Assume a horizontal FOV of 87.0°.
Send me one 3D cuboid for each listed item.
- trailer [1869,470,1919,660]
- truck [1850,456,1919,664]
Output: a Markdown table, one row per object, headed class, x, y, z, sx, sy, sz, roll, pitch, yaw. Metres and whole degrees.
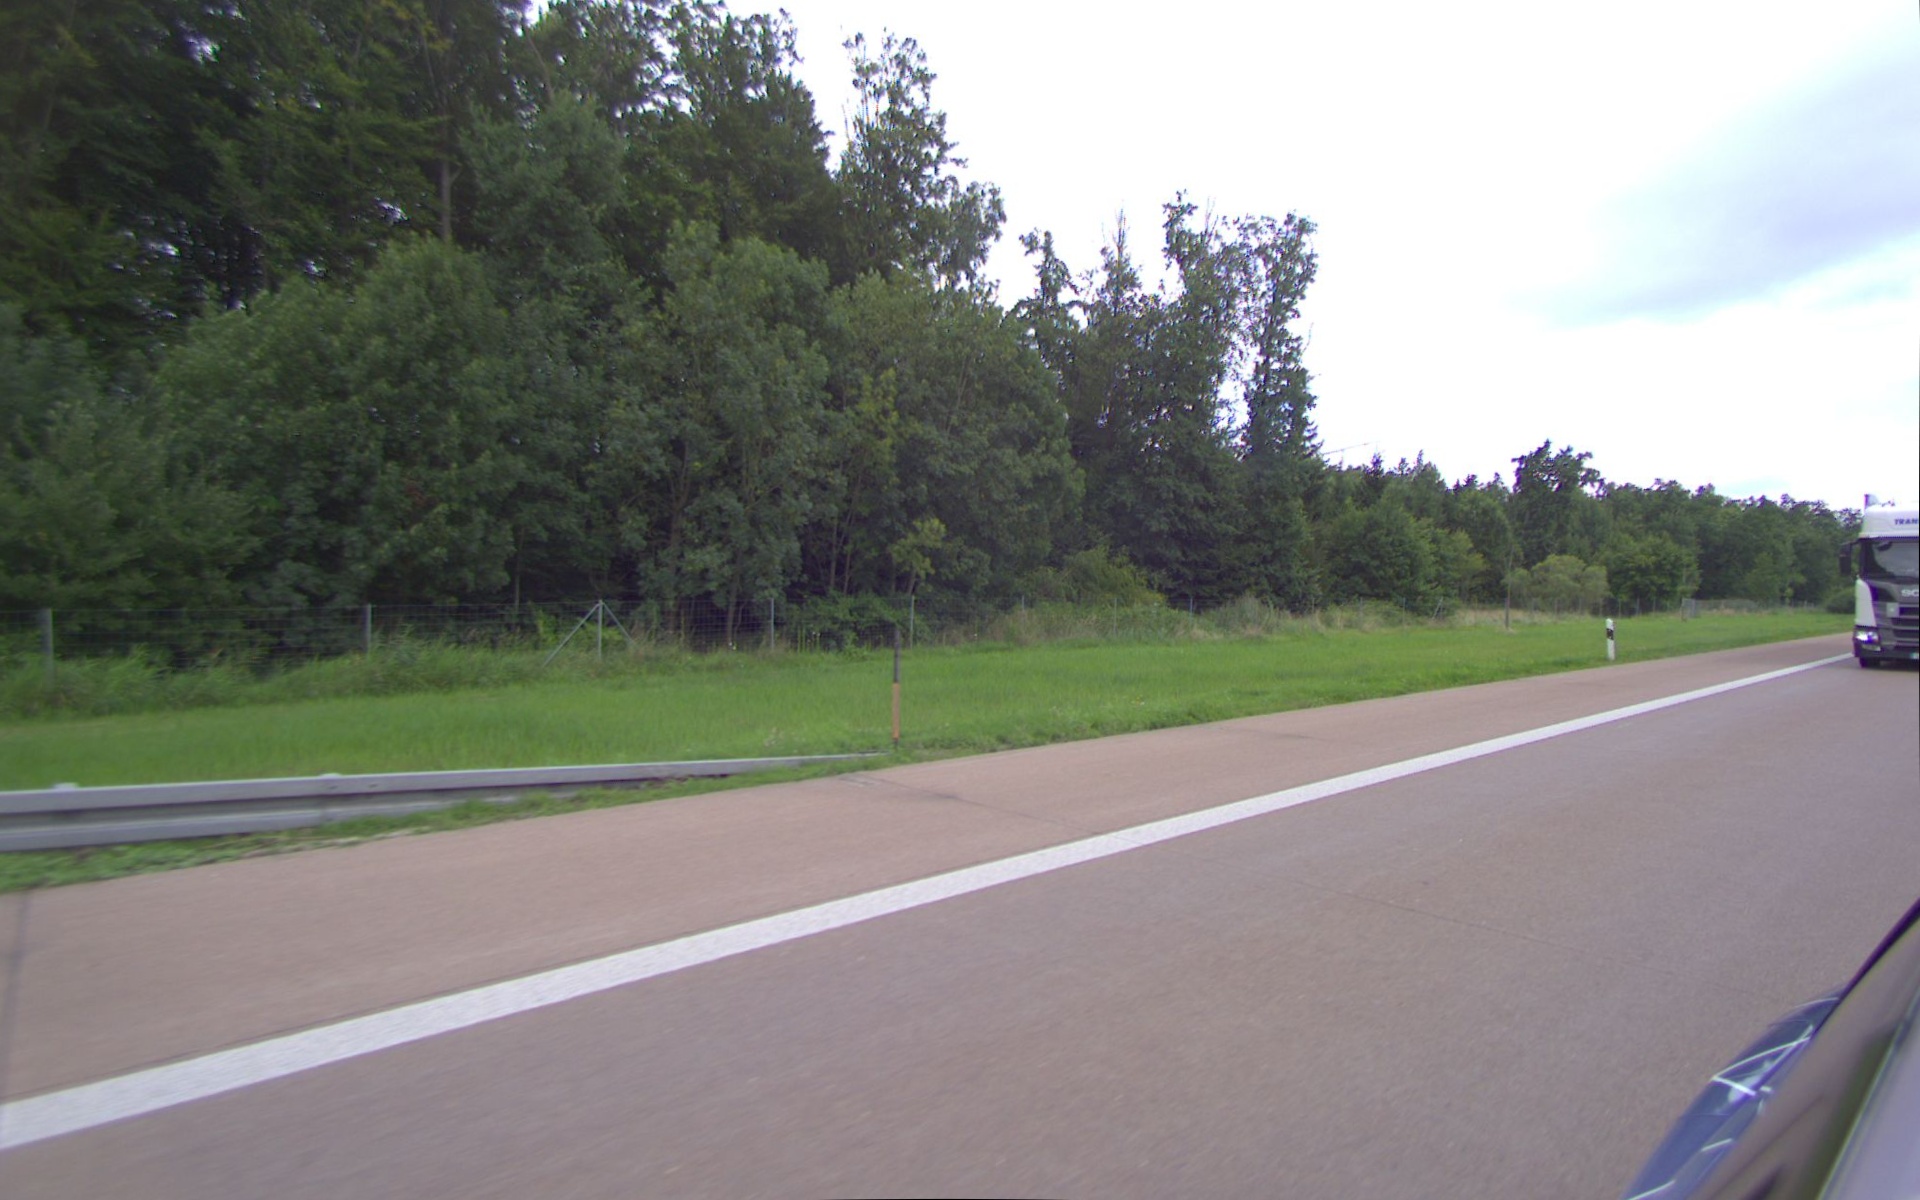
| class | x | y | z | sx | sy | sz | roll | pitch | yaw |
| --- | --- | --- | --- | --- | --- | --- | --- | --- | --- |
| trailer | 27.317 | -0.815 | 27.251 | 13.381 | 4.348 | 2.925 | 0 | 1 | -43 |
| truck | 22.209 | -0.831 | 22.606 | 5.243 | 4.348 | 2.925 | 0 | 0 | -42 |
